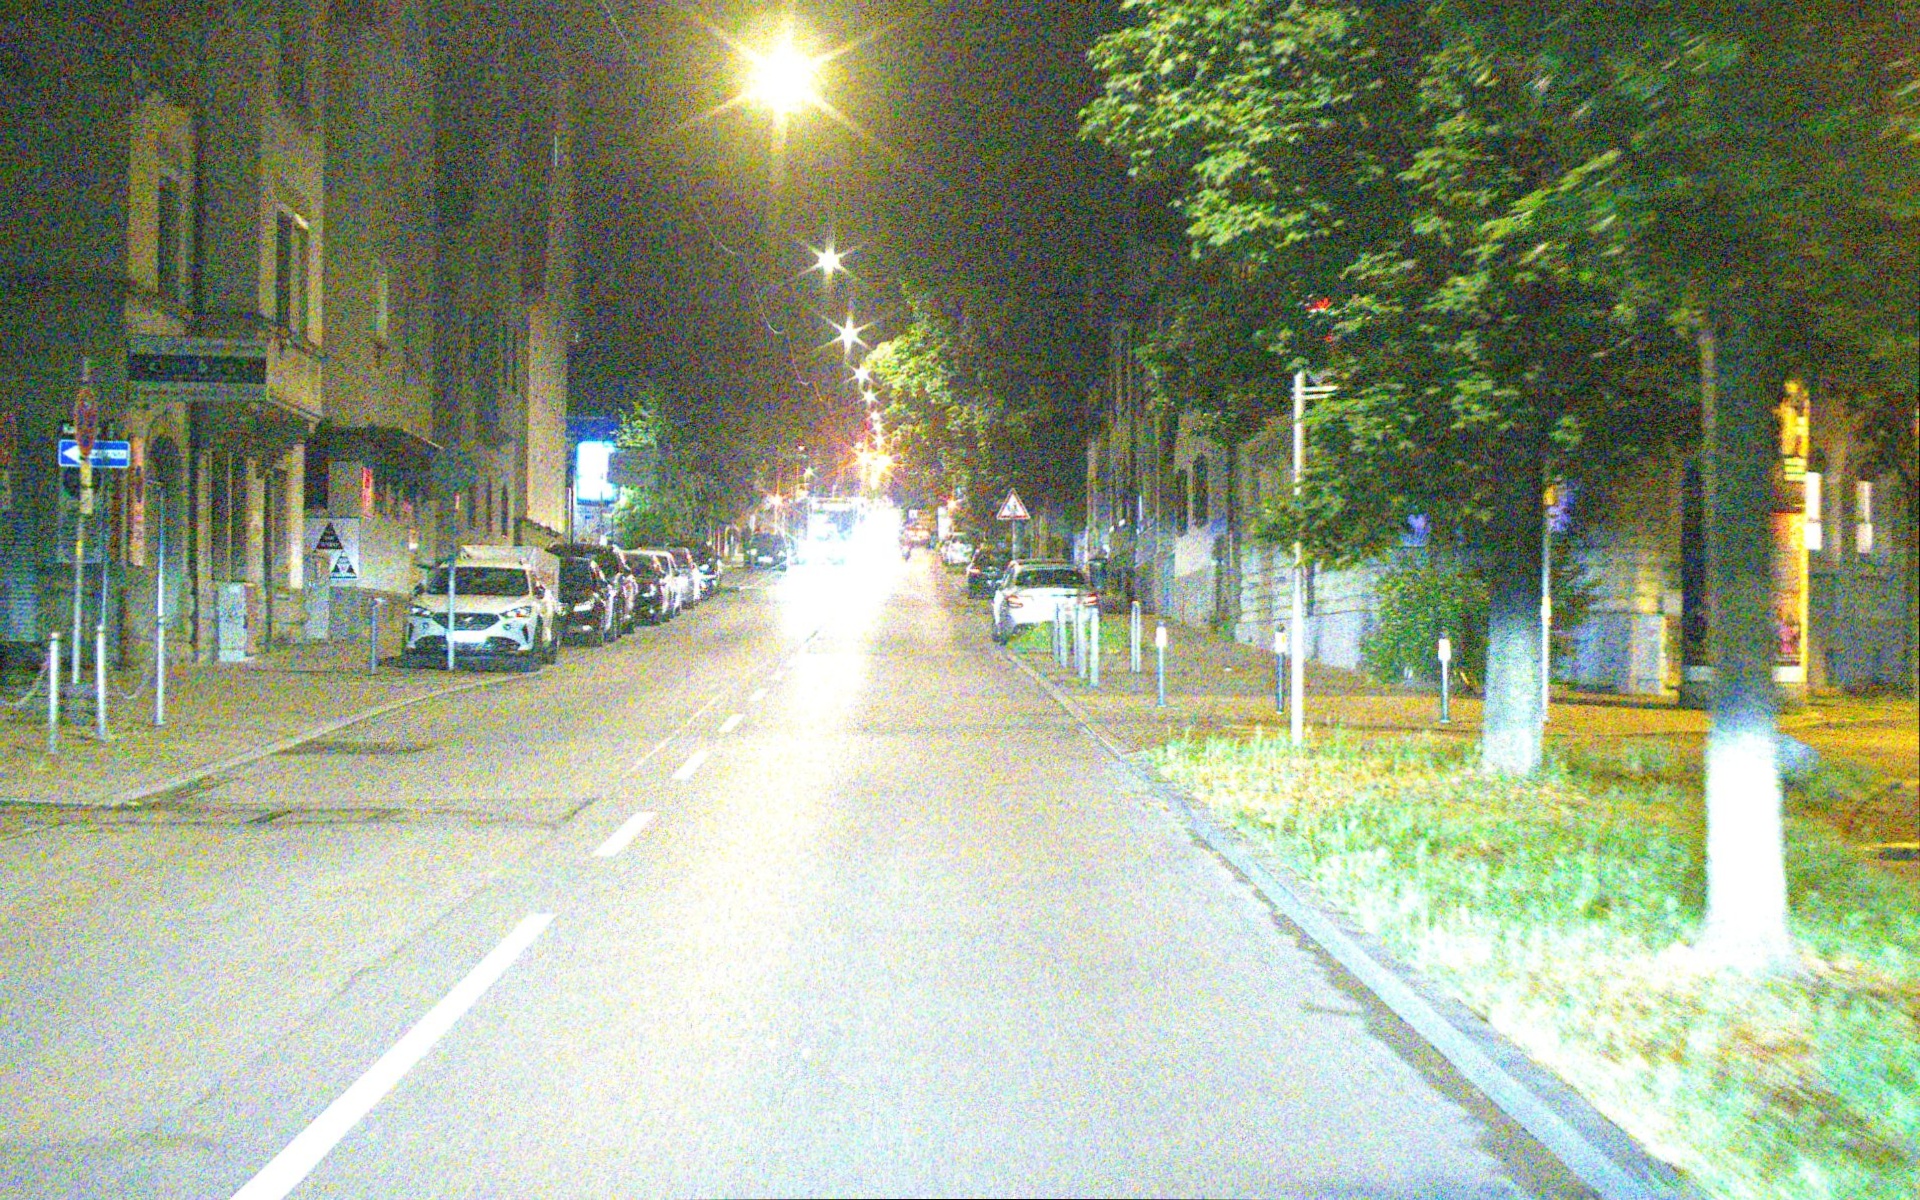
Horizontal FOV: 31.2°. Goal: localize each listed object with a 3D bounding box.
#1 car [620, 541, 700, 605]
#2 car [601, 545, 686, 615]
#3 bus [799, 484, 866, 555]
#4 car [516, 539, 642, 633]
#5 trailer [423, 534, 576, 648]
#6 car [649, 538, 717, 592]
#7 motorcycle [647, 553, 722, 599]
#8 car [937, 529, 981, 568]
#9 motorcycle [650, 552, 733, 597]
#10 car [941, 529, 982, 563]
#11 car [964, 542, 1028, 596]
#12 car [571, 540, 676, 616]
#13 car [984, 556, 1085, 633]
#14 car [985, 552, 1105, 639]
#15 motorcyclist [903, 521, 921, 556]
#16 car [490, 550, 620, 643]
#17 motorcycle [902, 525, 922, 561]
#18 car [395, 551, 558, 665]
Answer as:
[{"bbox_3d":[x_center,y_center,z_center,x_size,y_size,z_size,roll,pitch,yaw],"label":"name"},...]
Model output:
[{"bbox_3d":[-7.334,-0.678,84.369,1.704,1.486,4.228,-1,1,-2],"label":"car"},{"bbox_3d":[-7.047,-0.454,76.709,1.621,1.486,3.781,2,0,-2],"label":"car"},{"bbox_3d":[-5.982,-3.818,162.498,2.837,3.166,10.499,2,1,-1],"label":"bus"},{"bbox_3d":[-7.004,-0.289,63.568,1.835,1.613,4.545,2,1,-1],"label":"car"},{"bbox_3d":[-6.989,-0.145,52.441,1.638,1.634,3.439,2,0,4],"label":"trailer"},{"bbox_3d":[-7.753,-0.975,96.339,1.638,1.493,2.765,1,0,1],"label":"car"},{"bbox_3d":[-7.110,-0.627,88.690,0.714,1.143,2.208,-1,2,-43],"label":"motorcycle"},{"bbox_3d":[-0.044,-2.240,148.673,1.812,1.588,4.274,-1,2,-1],"label":"car"},{"bbox_3d":[-7.090,-0.677,90.709,2.206,1.127,0.714,1,2,32],"label":"motorcycle"},{"bbox_3d":[0.053,-2.532,161.915,1.868,1.521,4.150,-1,2,-1],"label":"car"},{"bbox_3d":[1.030,-0.908,99.759,1.763,1.471,4.081,-1,2,-1],"label":"car"},{"bbox_3d":[-7.020,-0.463,72.119,1.863,1.486,4.281,2,0,-2],"label":"car"},{"bbox_3d":[1.420,-0.130,66.762,1.771,1.443,4.020,0,1,-1],"label":"car"},{"bbox_3d":[1.475,-0.098,61.302,1.845,1.412,4.645,-2,0,-1],"label":"car"},{"bbox_3d":[-2.424,-3.108,174.184,0.848,1.746,0.805,2,0,-1],"label":"motorcyclist"},{"bbox_3d":[-6.837,-0.091,58.402,1.835,1.442,4.545,1,1,-2],"label":"car"},{"bbox_3d":[-2.428,-2.871,174.184,0.931,1.746,2.625,2,0,-1],"label":"motorcycle"},{"bbox_3d":[-6.665,0.082,47.778,1.814,1.479,4.348,1,1,-2],"label":"car"}]
